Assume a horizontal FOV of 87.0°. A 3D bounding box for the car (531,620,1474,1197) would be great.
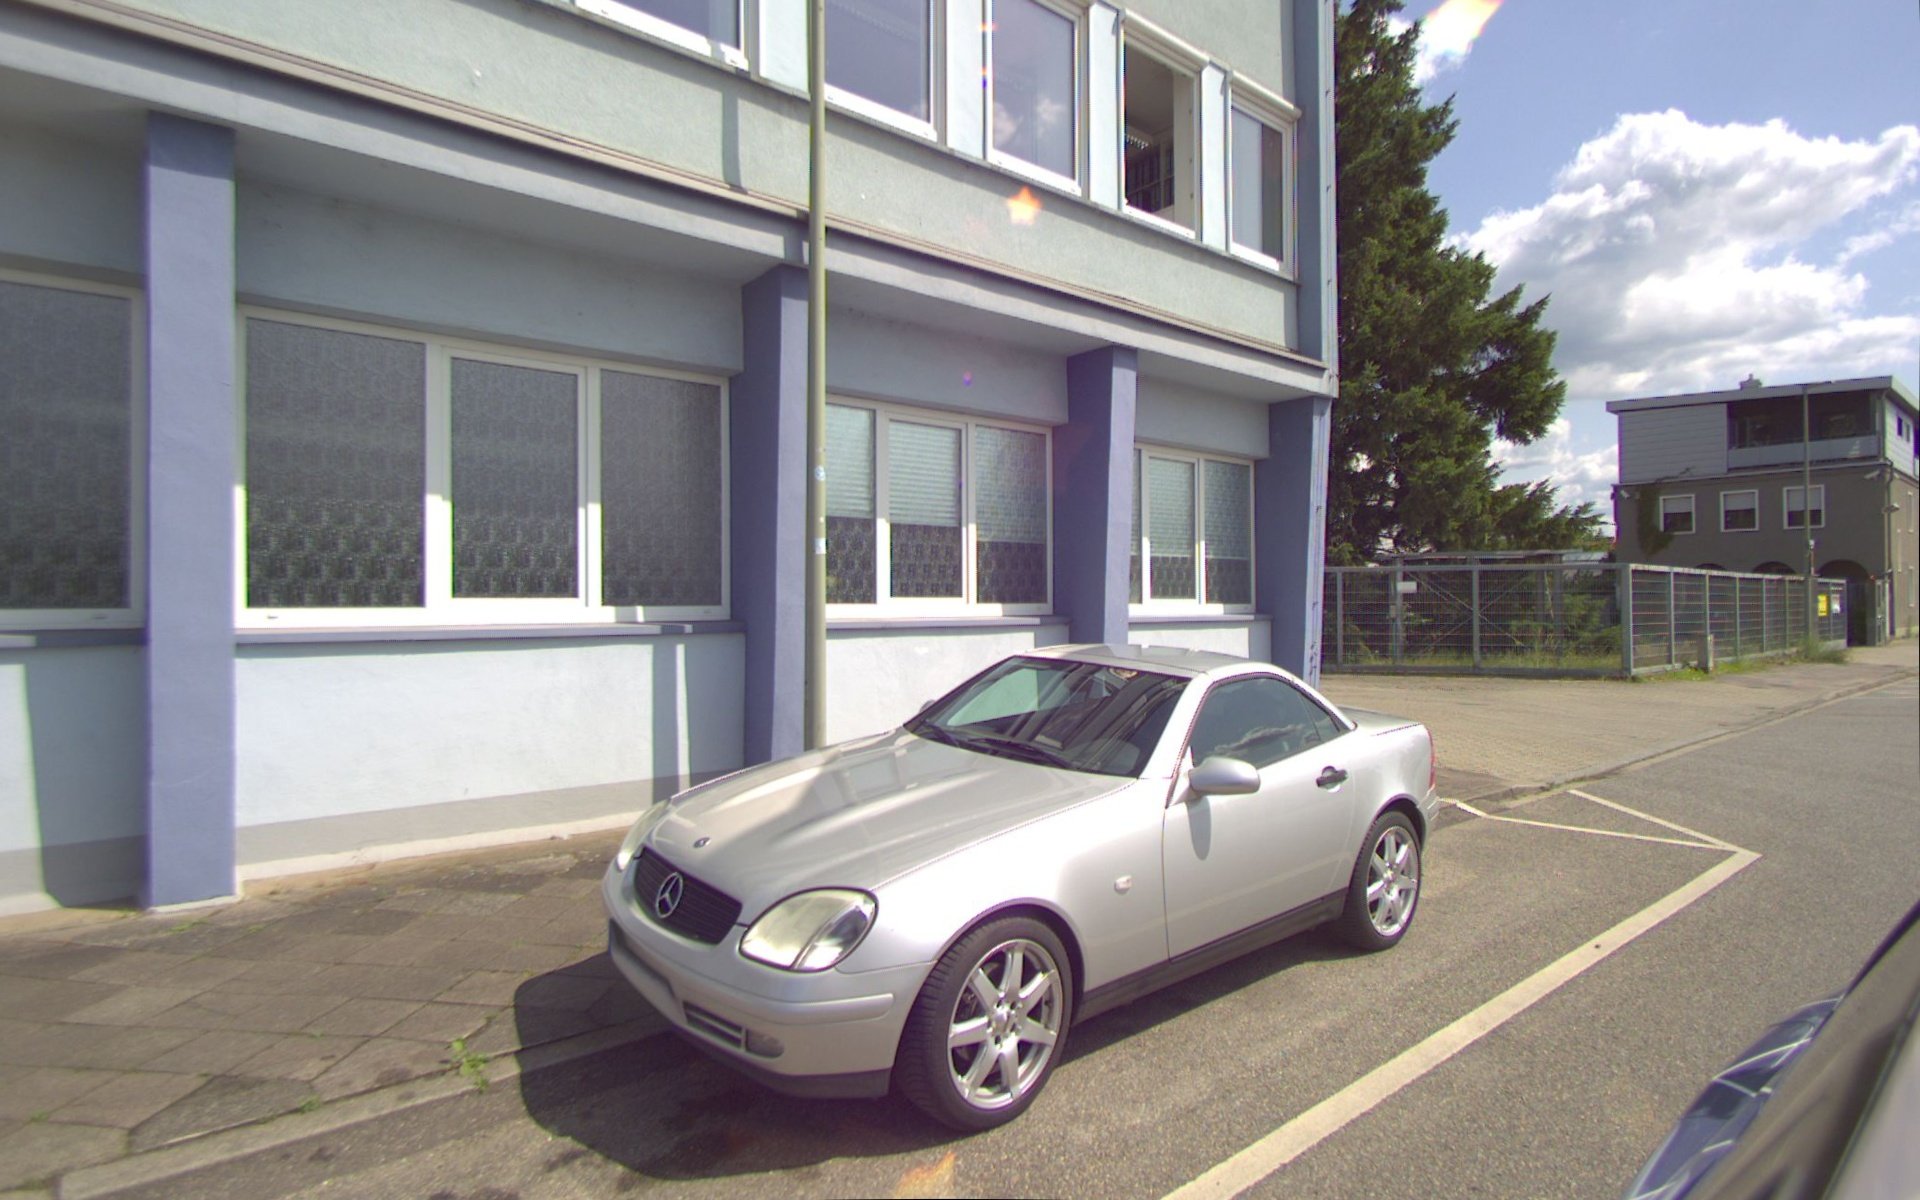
[{"bbox_3d":[0.492,0.749,4.263,3.930,1.262,1.649,0,0,-41],"label":"car"}]
